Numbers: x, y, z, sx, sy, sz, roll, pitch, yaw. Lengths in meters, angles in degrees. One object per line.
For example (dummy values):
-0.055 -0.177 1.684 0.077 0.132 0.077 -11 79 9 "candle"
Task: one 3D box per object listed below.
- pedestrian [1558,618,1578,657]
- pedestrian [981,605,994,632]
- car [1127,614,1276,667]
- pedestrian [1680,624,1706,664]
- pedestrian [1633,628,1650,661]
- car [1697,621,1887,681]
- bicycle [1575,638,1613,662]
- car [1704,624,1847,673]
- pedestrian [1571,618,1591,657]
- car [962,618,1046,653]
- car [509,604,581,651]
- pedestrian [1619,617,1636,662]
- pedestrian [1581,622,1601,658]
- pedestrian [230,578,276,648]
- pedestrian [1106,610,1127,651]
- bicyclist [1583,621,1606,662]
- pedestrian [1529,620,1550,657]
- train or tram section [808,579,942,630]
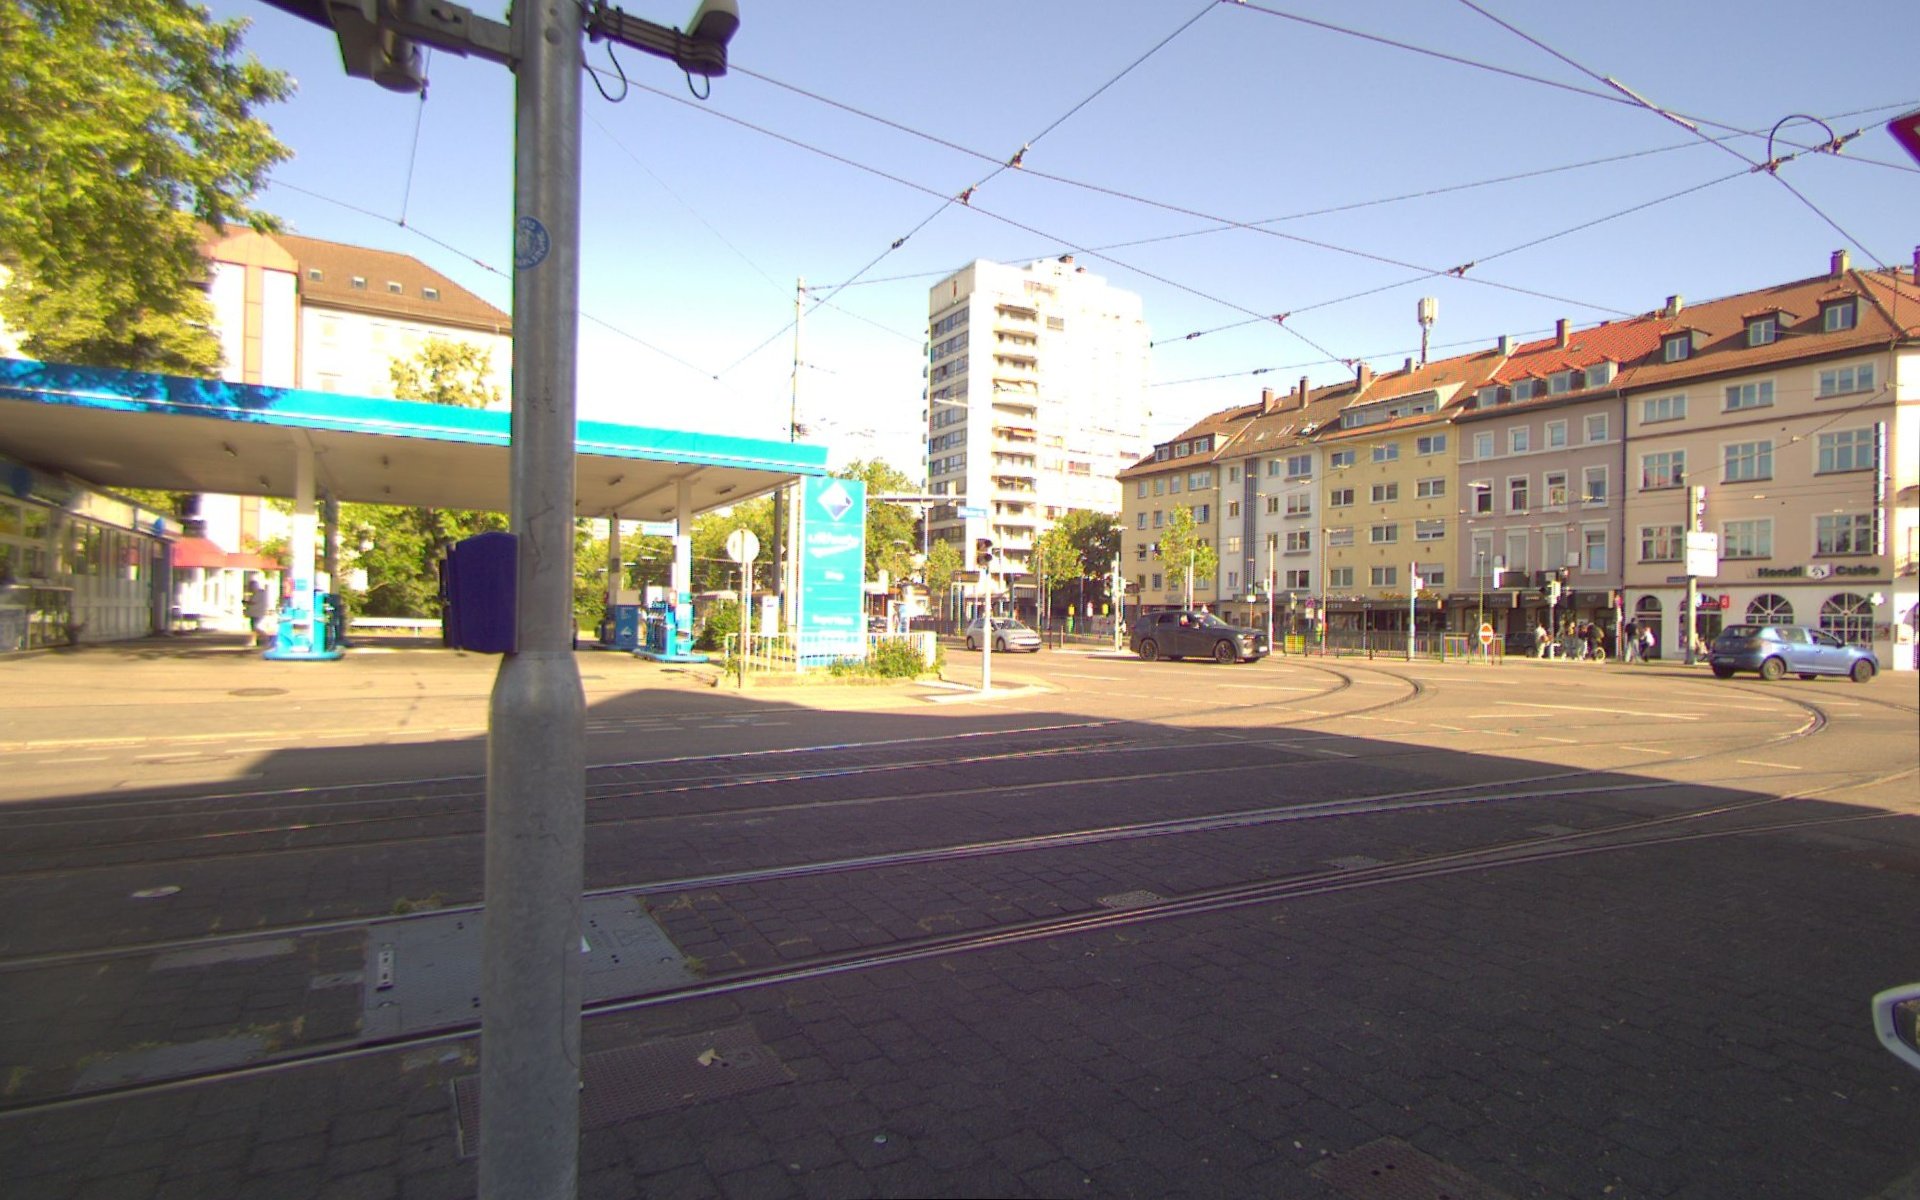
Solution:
26.504 1.620 43.797 0.492 1.670 0.520 2 0 -30 "pedestrian"
2.202 1.446 79.798 0.729 2.127 0.880 2 0 -21 "pedestrian"
7.832 1.270 32.769 4.390 1.623 1.864 -1 -2 42 "car"
31.443 1.894 43.080 0.831 1.670 0.579 2 0 -30 "pedestrian"
29.654 1.930 43.689 0.620 1.438 0.399 2 0 -36 "pedestrian"
22.626 1.363 27.398 3.844 1.523 1.789 1 -1 -4 "car"
29.005 2.283 45.958 1.731 1.044 0.619 2 0 -25 "bicycle"
29.644 1.719 36.704 1.795 1.596 4.199 1 0 0 "car"
26.786 1.625 43.312 0.492 1.670 0.520 2 0 -30 "pedestrian"
1.808 1.465 42.508 1.712 1.408 4.199 1 -1 -27 "car"
-13.522 0.864 32.642 1.659 1.372 3.559 2 0 -31 "car"
27.993 1.646 42.118 0.521 1.847 0.674 2 0 39 "pedestrian"
26.734 1.703 42.585 0.550 1.512 0.489 2 0 -30 "pedestrian"
-17.680 0.348 25.139 0.838 1.724 0.644 2 -3 -31 "pedestrian"
6.379 1.216 40.912 0.750 1.631 0.613 2 0 15 "pedestrian"
29.012 1.898 45.955 0.606 1.814 0.619 2 0 -25 "bicyclist"
26.666 1.762 46.231 0.609 1.670 0.581 2 0 -30 "pedestrian"
-6.446 0.208 70.894 2.821 3.179 16.611 2 0 -29 "train or tram section"
